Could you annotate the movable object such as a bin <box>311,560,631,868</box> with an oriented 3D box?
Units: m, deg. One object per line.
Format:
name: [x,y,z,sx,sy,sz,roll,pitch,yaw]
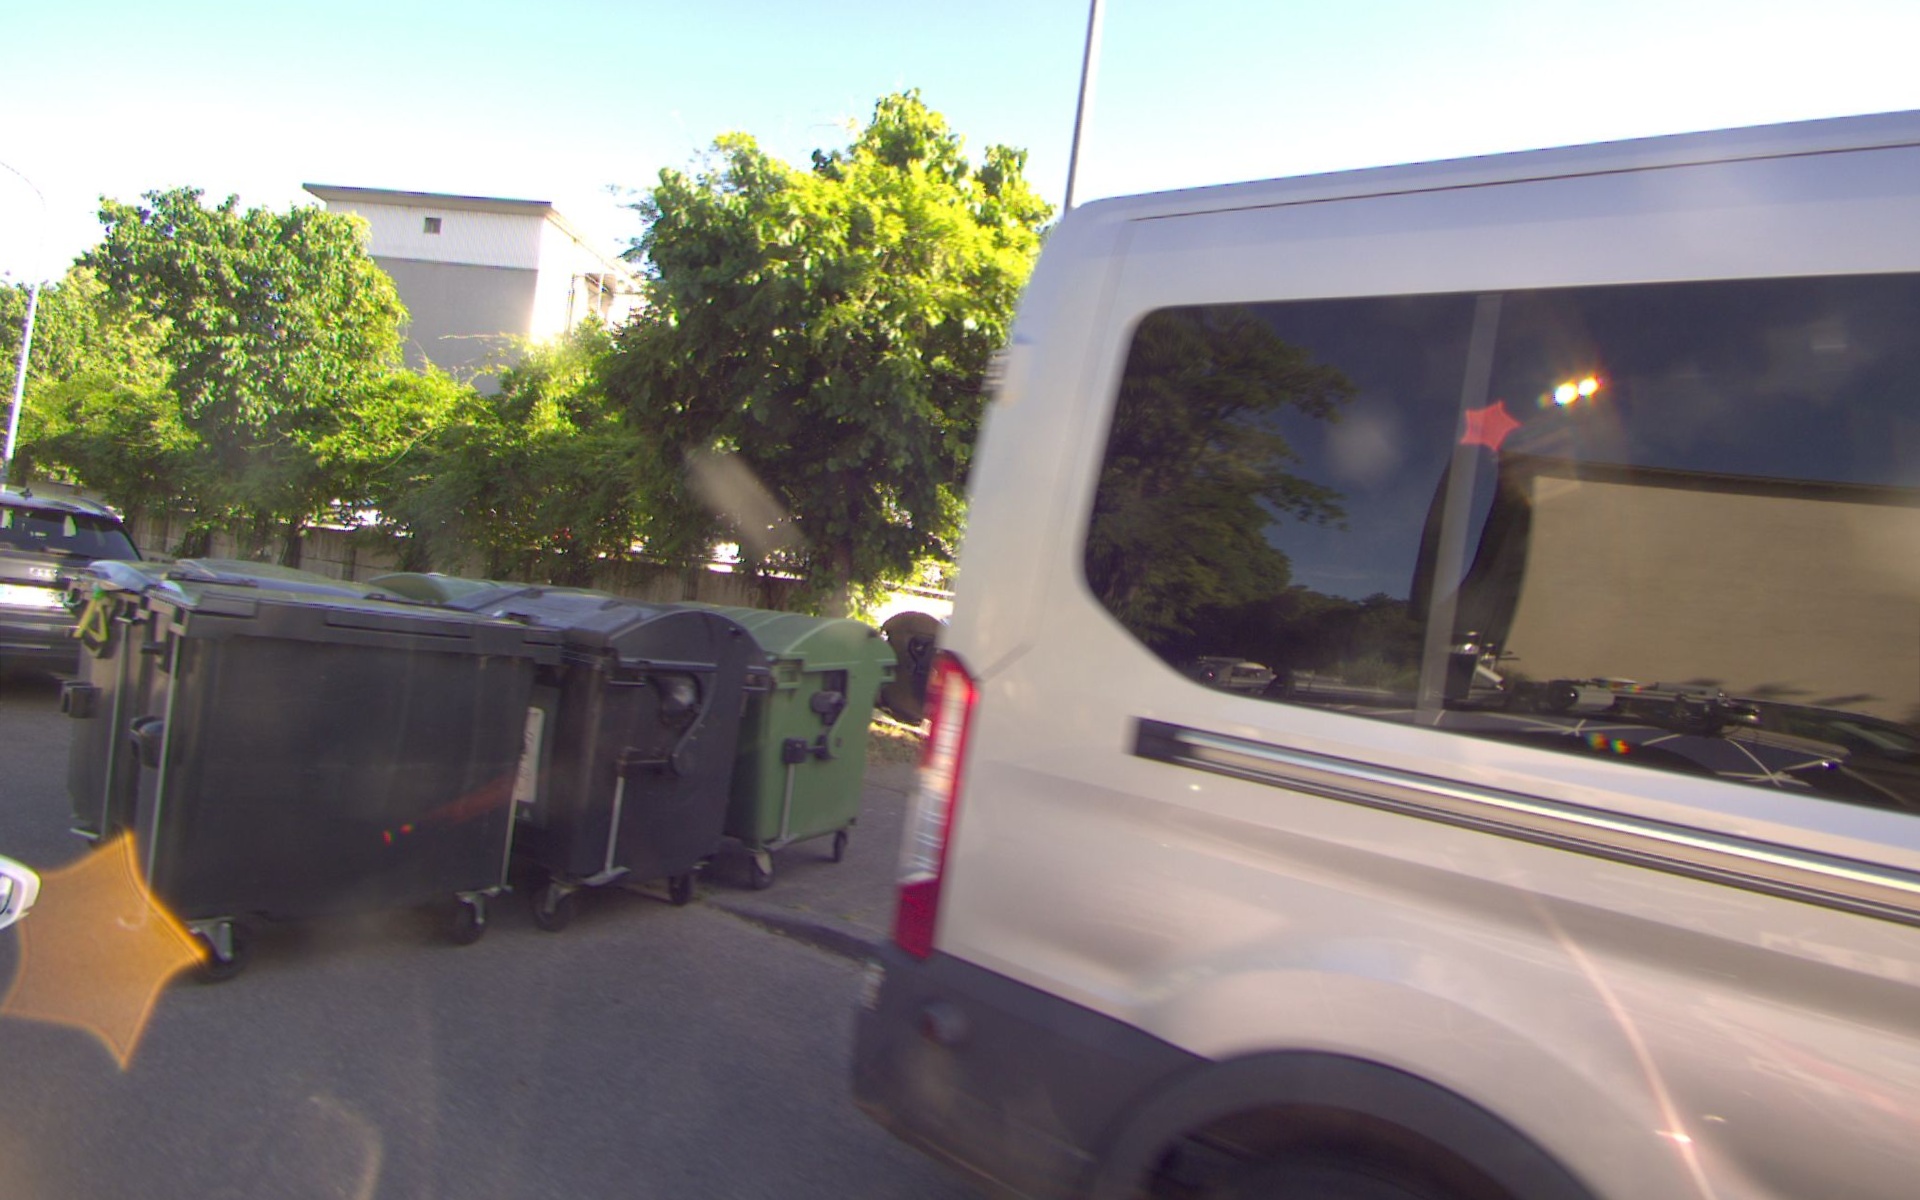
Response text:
movable object such as a bin: [-2.751,0.600,5.689,1.153,1.465,1.092,5,-3,38]

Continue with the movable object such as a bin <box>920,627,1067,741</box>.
movable object such as a bin: [0.472,1.139,13.861,1.360,1.322,1.412,7,0,36]

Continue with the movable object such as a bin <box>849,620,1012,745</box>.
movable object such as a bin: [-0.354,1.018,12.670,1.360,1.322,1.412,7,0,36]

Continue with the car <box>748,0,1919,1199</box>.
car: [2.662,0.640,1.530,5.757,2.515,2.109,7,-2,31]

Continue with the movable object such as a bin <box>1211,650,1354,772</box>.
movable object such as a bin: [4.411,1.469,13.721,1.360,1.391,1.427,7,1,36]

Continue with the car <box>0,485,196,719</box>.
car: [-8.687,-0.177,8.720,4.390,1.683,1.813,7,-2,34]

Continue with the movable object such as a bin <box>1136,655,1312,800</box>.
movable object such as a bin: [2.950,1.370,11.191,1.360,1.322,1.412,7,0,36]

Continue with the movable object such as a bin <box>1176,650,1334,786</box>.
movable object such as a bin: [3.662,1.409,12.456,1.360,1.391,1.427,7,1,36]

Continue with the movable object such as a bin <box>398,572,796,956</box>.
movable object such as a bin: [-1.756,0.710,4.878,1.339,1.436,1.108,8,-1,38]

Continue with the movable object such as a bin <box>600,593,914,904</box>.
movable object such as a bin: [-1.180,0.765,5.825,1.398,1.467,1.040,5,1,38]

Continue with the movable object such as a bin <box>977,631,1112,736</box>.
movable object such as a bin: [1.277,1.234,15.056,1.360,1.322,1.412,7,0,36]

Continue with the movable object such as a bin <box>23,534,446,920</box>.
movable object such as a bin: [-3.323,0.512,4.636,1.153,1.414,1.227,7,0,39]

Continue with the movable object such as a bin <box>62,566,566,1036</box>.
movable object such as a bin: [-2.463,0.647,3.877,1.106,1.331,1.267,9,2,39]
